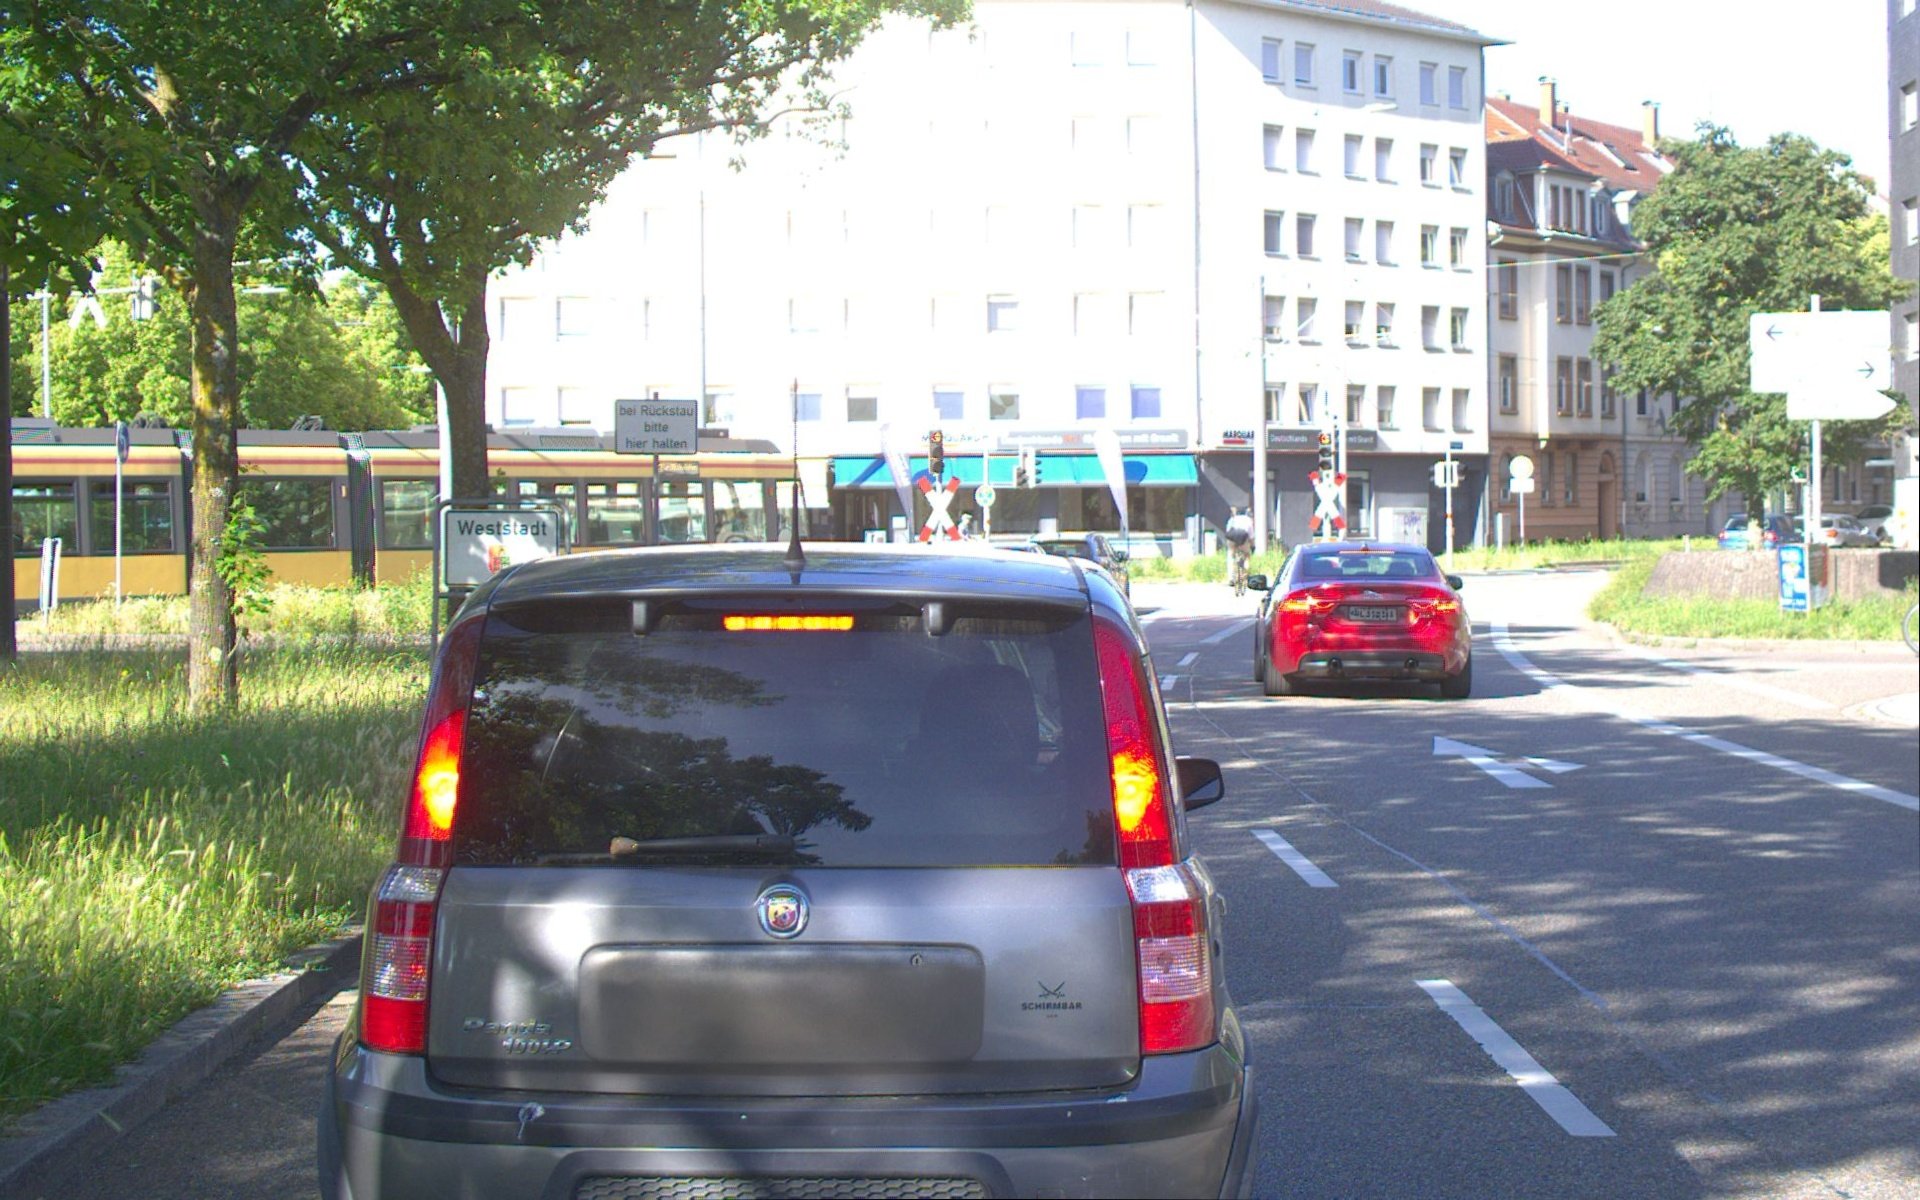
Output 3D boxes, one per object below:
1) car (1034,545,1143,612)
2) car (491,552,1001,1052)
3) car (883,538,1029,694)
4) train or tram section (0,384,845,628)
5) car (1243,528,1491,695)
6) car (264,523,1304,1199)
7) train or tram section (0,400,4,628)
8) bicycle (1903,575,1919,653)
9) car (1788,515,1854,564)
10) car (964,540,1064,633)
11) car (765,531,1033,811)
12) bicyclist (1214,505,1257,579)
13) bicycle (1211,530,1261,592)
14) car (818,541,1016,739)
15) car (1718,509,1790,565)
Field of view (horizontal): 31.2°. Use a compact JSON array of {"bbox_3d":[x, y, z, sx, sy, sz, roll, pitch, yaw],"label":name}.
[{"bbox_3d":[2.176,-0.369,57.679,1.143,1.060,2.719,0,1,17],"label":"car"},{"bbox_3d":[-0.638,0.562,11.650,1.463,1.396,3.393,0,1,-1],"label":"car"},{"bbox_3d":[-0.056,0.124,33.873,1.356,1.444,3.266,-1,1,-1],"label":"car"},{"bbox_3d":[-9.999,-1.710,61.733,3.303,3.757,20.764,0,2,38],"label":"train or tram section"},{"bbox_3d":[3.759,0.051,32.450,1.887,1.423,4.387,0,2,1],"label":"car"},{"bbox_3d":[-0.296,0.599,7.428,1.628,1.503,4.000,-1,1,-1],"label":"car"},{"bbox_3d":[-23.066,-1.114,47.691,19.329,3.501,3.305,-2,2,-41],"label":"train or tram section"},{"bbox_3d":[12.412,0.168,41.849,1.791,0.942,0.560,0,1,15],"label":"bicycle"},{"bbox_3d":[23.564,-1.667,94.027,1.528,1.310,3.285,0,1,18],"label":"car"},{"bbox_3d":[0.754,-0.211,49.611,1.356,1.277,2.876,0,1,-1],"label":"car"},{"bbox_3d":[-0.356,0.357,20.689,1.463,1.503,3.505,0,2,-1],"label":"car"},{"bbox_3d":[5.396,-1.137,67.425,0.741,1.433,0.845,1,0,-1],"label":"bicyclist"},{"bbox_3d":[5.408,-0.763,67.520,0.708,1.194,2.520,1,1,-2],"label":"bicycle"},{"bbox_3d":[-0.342,0.269,27.289,1.463,1.420,3.381,0,2,-1],"label":"car"},{"bbox_3d":[20.887,-1.663,90.399,1.683,1.444,3.569,0,1,15],"label":"car"}]
